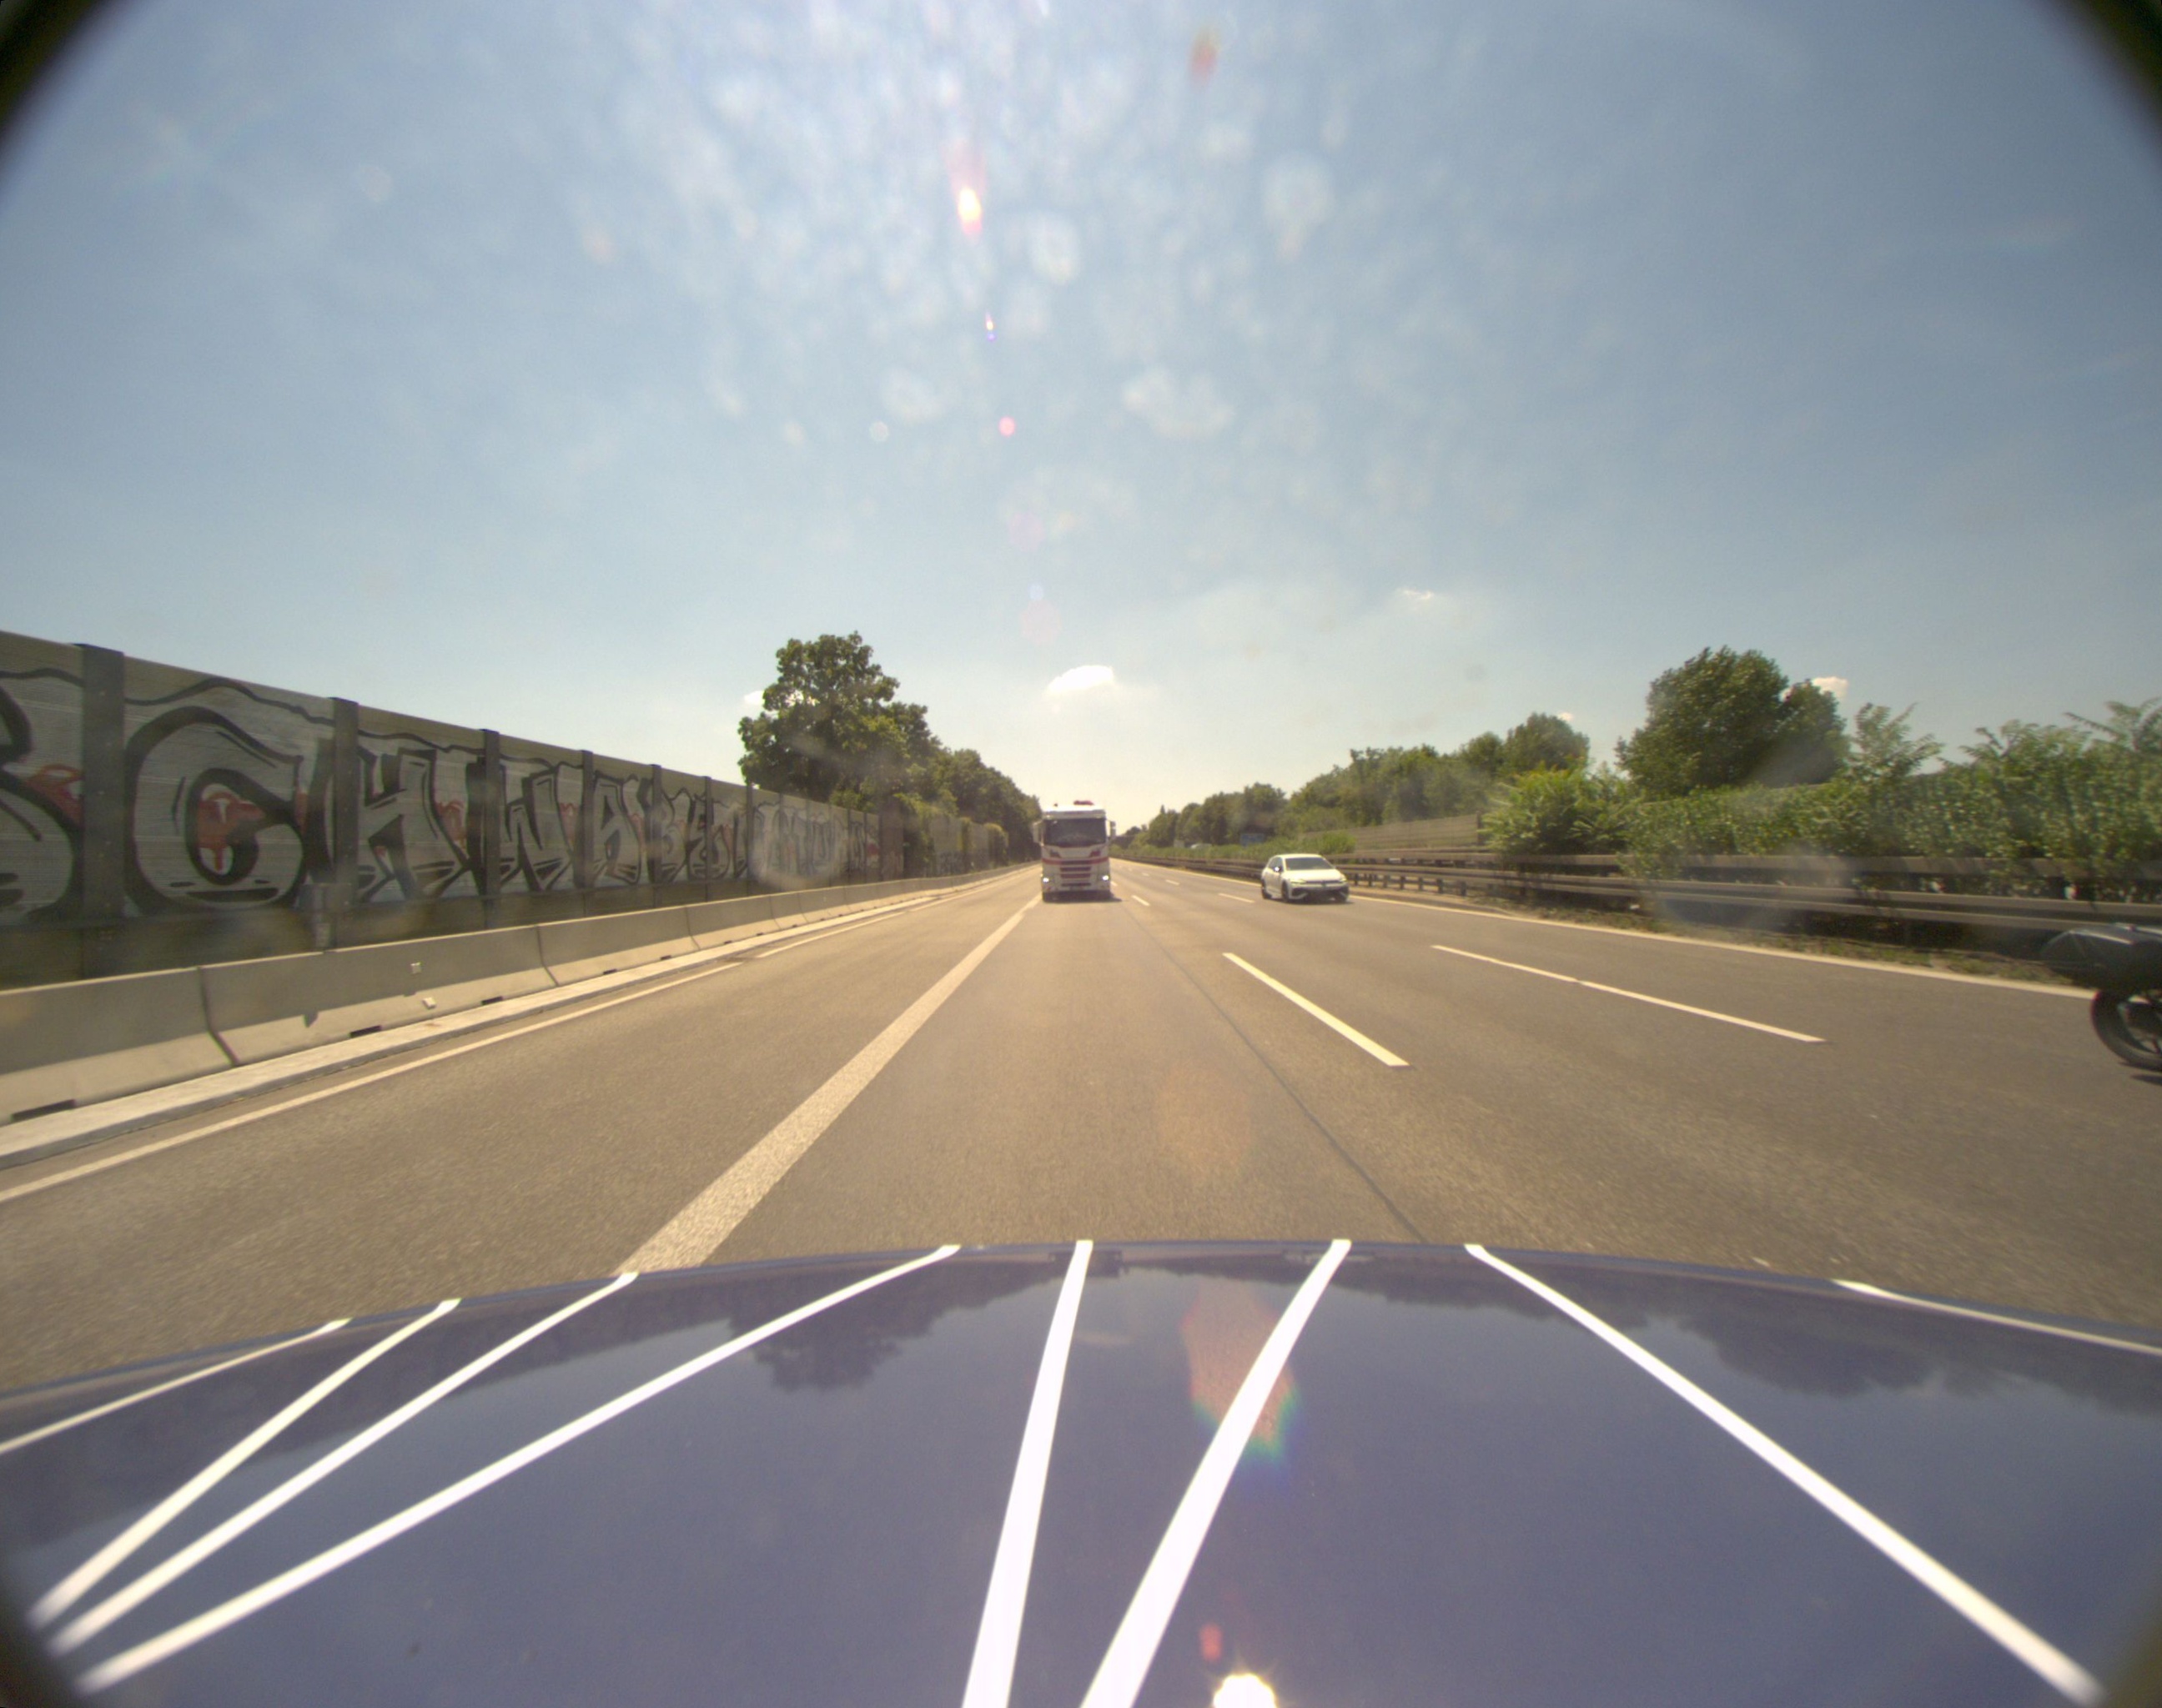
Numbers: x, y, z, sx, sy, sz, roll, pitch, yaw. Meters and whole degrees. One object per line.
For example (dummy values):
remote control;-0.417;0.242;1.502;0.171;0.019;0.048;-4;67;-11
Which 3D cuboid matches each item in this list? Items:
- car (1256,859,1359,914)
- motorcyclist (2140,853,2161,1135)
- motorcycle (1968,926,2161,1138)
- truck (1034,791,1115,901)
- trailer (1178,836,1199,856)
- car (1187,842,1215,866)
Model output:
car;6.819;0.920;23.396;1.786;1.432;4.668;-1;0;0
motorcyclist;6.534;0.770;3.705;0.895;1.587;1.299;-2;0;-3
motorcycle;6.543;1.038;3.744;0.915;1.082;2.849;-2;0;-3
truck;-0.191;-0.227;32.211;2.721;3.779;10.672;-2;0;0
trailer;22.381;-1.594;158.964;2.712;3.830;13.674;-1;0;2
car;14.715;0.029;93.219;2.246;2.742;6.219;-2;0;-1
